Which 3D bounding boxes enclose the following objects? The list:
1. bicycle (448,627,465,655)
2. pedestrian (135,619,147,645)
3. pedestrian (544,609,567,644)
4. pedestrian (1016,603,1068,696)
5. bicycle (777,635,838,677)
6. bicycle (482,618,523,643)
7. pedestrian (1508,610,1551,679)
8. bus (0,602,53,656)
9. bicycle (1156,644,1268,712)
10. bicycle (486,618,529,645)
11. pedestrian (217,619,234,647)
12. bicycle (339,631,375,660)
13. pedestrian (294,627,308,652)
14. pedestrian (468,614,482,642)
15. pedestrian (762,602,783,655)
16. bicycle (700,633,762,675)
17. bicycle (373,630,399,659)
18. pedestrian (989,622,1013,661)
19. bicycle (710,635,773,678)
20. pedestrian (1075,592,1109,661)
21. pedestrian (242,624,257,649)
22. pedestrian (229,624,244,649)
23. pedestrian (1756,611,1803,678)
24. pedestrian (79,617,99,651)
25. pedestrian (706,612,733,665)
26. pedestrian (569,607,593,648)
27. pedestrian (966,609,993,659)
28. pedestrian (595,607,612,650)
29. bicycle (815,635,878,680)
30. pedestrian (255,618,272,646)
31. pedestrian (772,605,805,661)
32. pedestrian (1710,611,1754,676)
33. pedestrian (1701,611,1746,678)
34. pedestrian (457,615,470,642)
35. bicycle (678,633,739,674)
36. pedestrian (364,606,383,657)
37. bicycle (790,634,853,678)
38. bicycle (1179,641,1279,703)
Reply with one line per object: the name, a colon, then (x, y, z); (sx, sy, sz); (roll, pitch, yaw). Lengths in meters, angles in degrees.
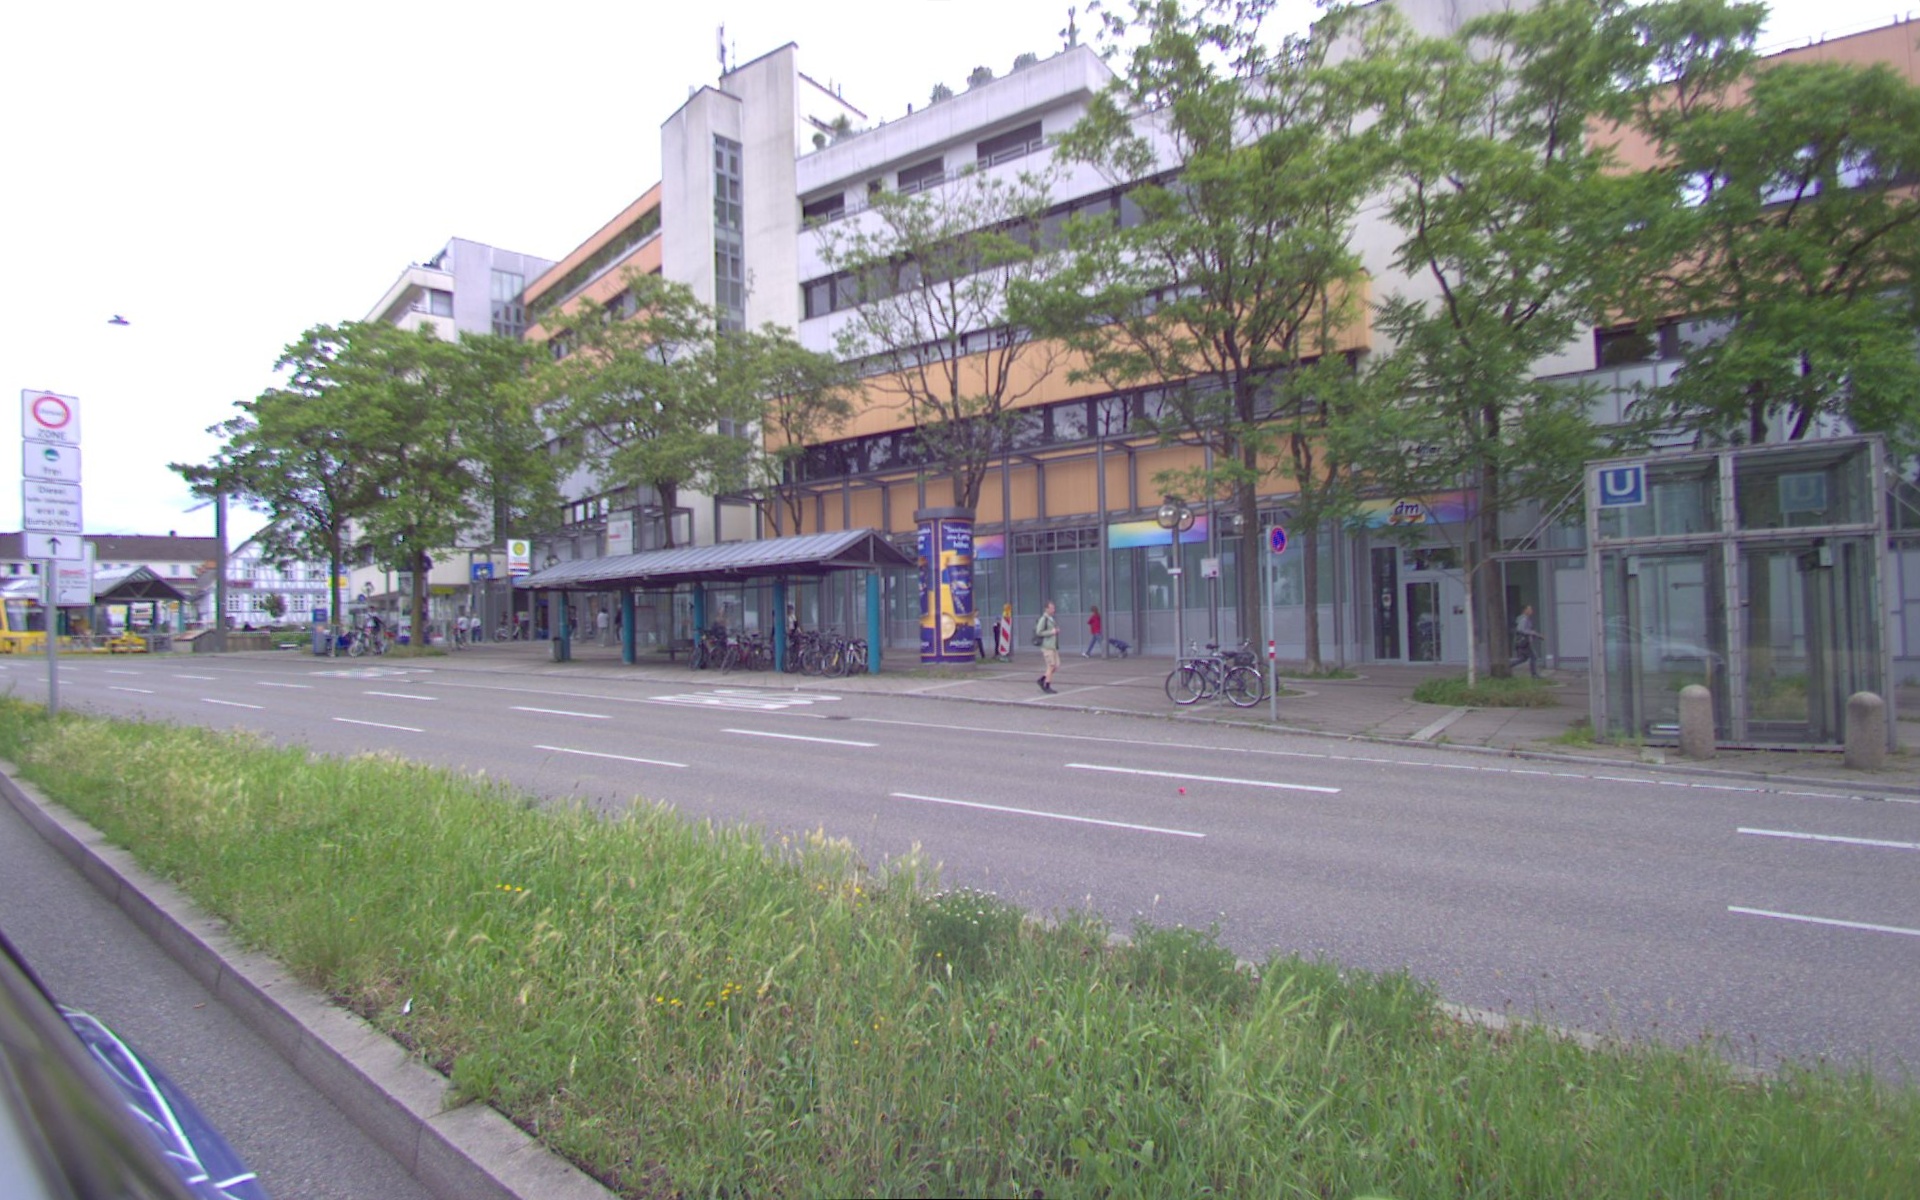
bicycle: (-21.357, 1.705, 42.931); (0.584, 1.134, 2.044); (1, -1, -26)
pedestrian: (-63.670, 2.498, 78.676); (0.731, 2.029, 0.940); (1, -2, -39)
pedestrian: (-19.621, 1.295, 49.083); (0.752, 1.695, 0.755); (-1, -2, 41)
pedestrian: (1.658, 0.988, 20.468); (0.916, 1.846, 0.533); (-1, -2, 25)
bicycle: (-4.143, 1.513, 27.562); (0.549, 1.048, 1.714); (-2, -1, 38)
bicycle: (-26.101, 1.733, 57.768); (2.106, 1.377, 0.621); (-1, 0, -24)
pedestrian: (12.578, 0.980, 22.353); (0.754, 1.491, 0.524); (-1, -2, 36)
bus: (-55.987, 1.680, 58.618); (8.470, 3.006, 2.530); (-1, -2, 29)
bicycle: (4.363, 1.323, 17.600); (0.802, 1.068, 1.739); (0, -1, -40)
bicycle: (-24.953, 1.722, 55.790); (2.107, 1.385, 0.621); (-1, 0, -31)
pedestrian: (-53.362, 2.387, 73.509); (0.867, 2.029, 1.010); (1, -2, -44)
bicycle: (-23.619, 1.764, 39.653); (0.585, 1.085, 2.042); (0, -1, -12)
pedestrian: (-41.751, 2.518, 64.124); (0.581, 1.554, 0.570); (-1, -2, 32)
pedestrian: (-26.740, 1.548, 55.794); (0.548, 1.506, 0.454); (1, -2, -41)
pedestrian: (-7.361, 1.120, 39.667); (0.558, 2.029, 0.611); (1, -2, -44)
bicycle: (-6.460, 1.511, 28.586); (0.549, 1.048, 1.714); (-2, 1, 38)
bicycle: (-22.752, 1.751, 40.111); (0.584, 1.085, 2.044); (0, -1, -21)
pedestrian: (1.261, 1.275, 31.195); (0.620, 1.190, 0.418); (-1, -2, 31)
bicycle: (-5.965, 1.528, 27.723); (0.549, 1.048, 1.714); (-2, 1, 38)
pedestrian: (4.001, 0.793, 30.594); (0.791, 2.029, 0.703); (-1, 0, 31)
pedestrian: (-45.175, 2.299, 64.353); (0.581, 1.554, 0.570); (-1, -2, 32)
pedestrian: (-45.568, 2.302, 63.700); (0.581, 1.554, 0.570); (-1, -2, 32)
pedestrian: (17.271, 0.926, 21.336); (0.694, 1.385, 0.578); (-1, -2, 34)
pedestrian: (-52.405, 2.021, 60.879); (0.663, 2.029, 0.632); (-1, -2, 21)
pedestrian: (-8.194, 1.307, 34.455); (0.769, 1.800, 0.525); (-1, -2, 33)
pedestrian: (-17.385, 1.260, 46.436); (0.752, 1.859, 0.755); (-1, -2, 41)
pedestrian: (0.591, 1.036, 30.776); (0.620, 1.515, 0.563); (-1, -2, 31)
pedestrian: (-15.478, 1.240, 43.908); (0.639, 1.823, 0.761); (0, -2, -16)
bicycle: (-2.909, 1.473, 26.062); (0.549, 1.048, 1.714); (-2, 0, 38)
pedestrian: (-50.907, 2.354, 73.968); (0.867, 2.029, 1.010); (1, -2, -44)
pedestrian: (-5.269, 1.005, 31.046); (0.721, 1.662, 0.669); (-1, -1, 37)
pedestrian: (16.706, 0.933, 21.903); (0.694, 1.385, 0.578); (-1, -2, 34)
pedestrian: (16.195, 0.940, 21.483); (0.694, 1.385, 0.578); (-1, -2, 34)
pedestrian: (-27.169, 1.554, 55.391); (0.548, 1.506, 0.454); (1, -2, -41)
bicycle: (-7.238, 1.533, 29.150); (0.549, 1.048, 1.714); (-2, 0, 38)
pedestrian: (-27.235, 1.449, 46.990); (0.608, 2.325, 0.583); (-1, -2, 39)
bicycle: (-3.619, 1.457, 26.595); (0.549, 1.048, 1.714); (-2, 0, 38)
bicycle: (4.979, 1.312, 18.791); (1.737, 1.074, 0.542); (-2, -1, 45)
